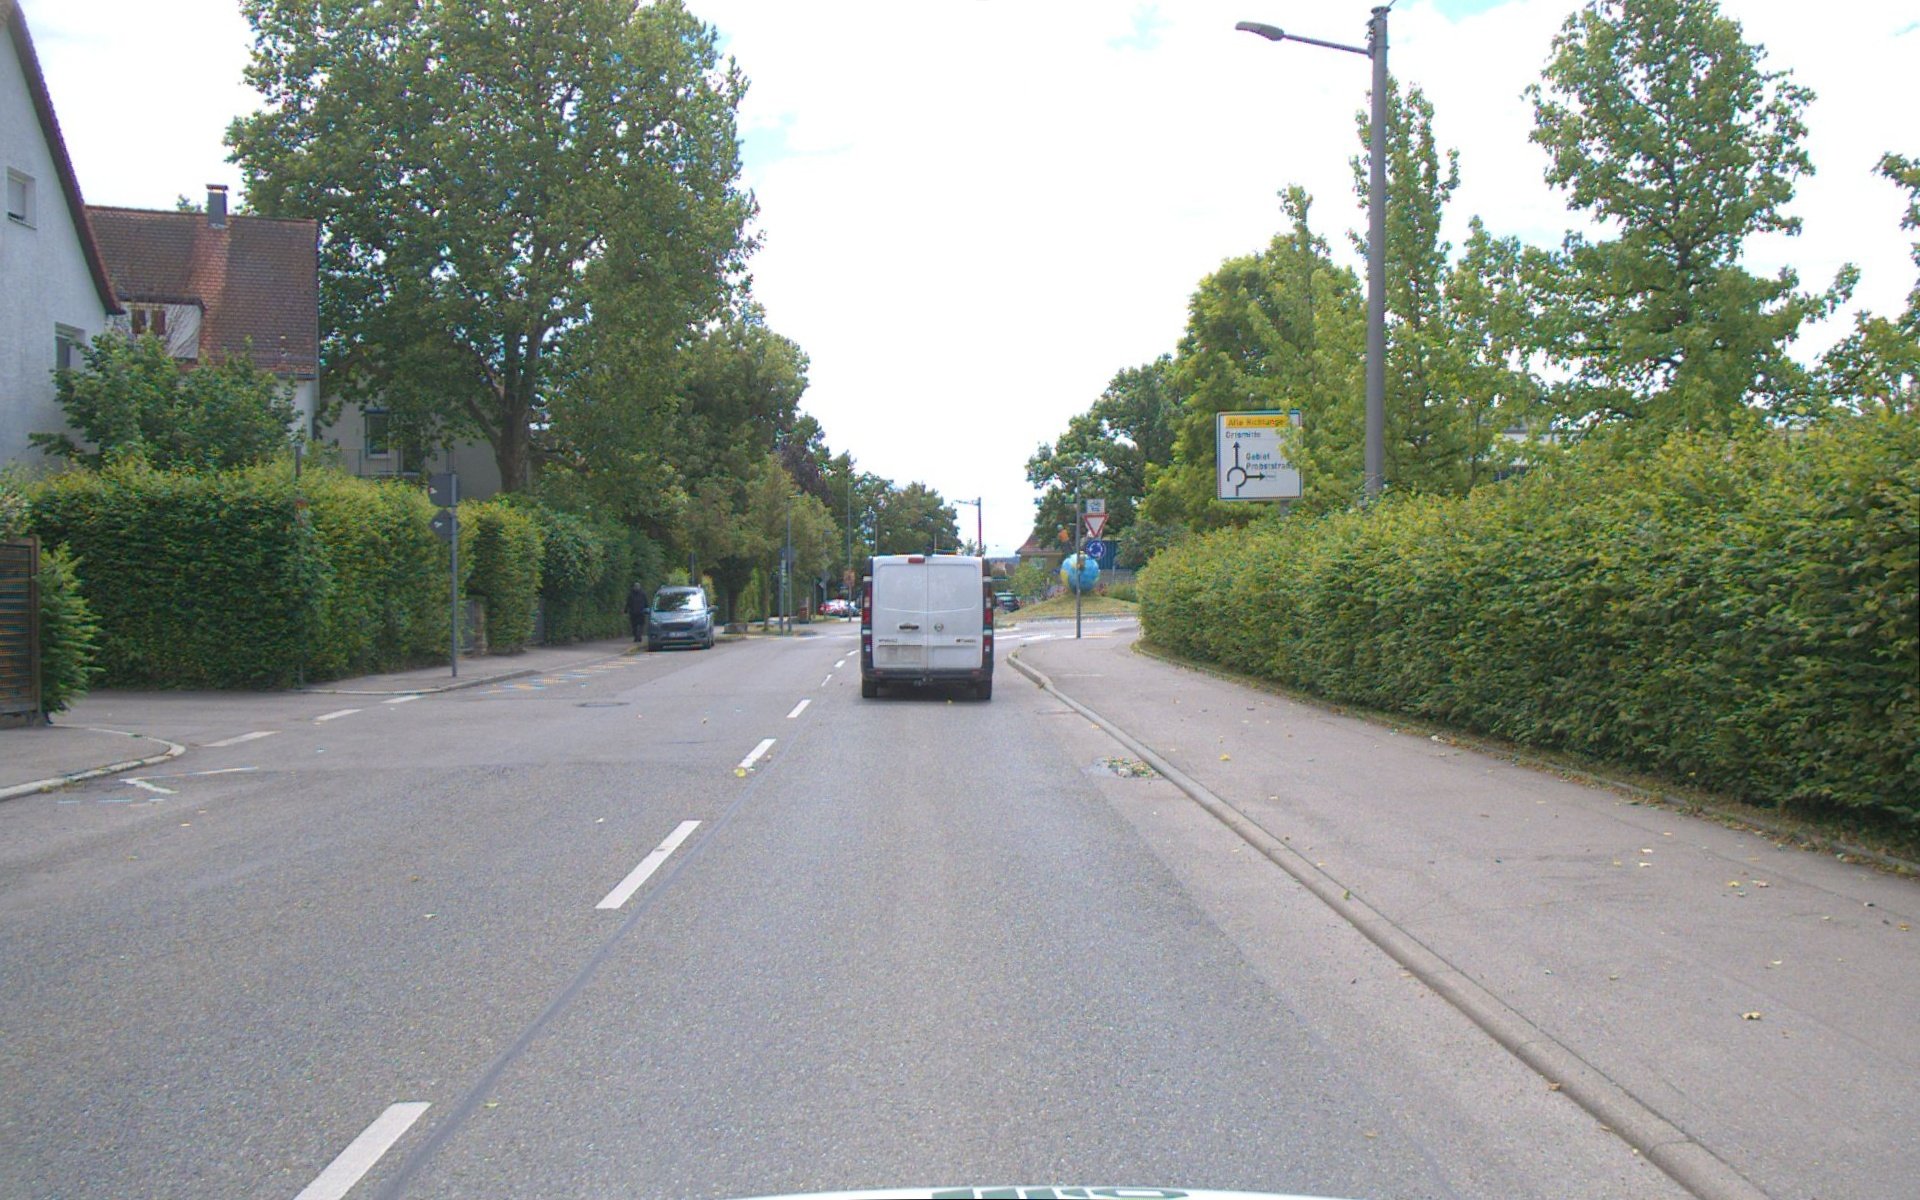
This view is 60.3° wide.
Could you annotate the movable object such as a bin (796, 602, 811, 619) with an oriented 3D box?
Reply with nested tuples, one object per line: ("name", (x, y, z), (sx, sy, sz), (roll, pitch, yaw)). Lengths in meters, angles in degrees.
("movable object such as a bin", (-8.330, 0.566, 88.178), (0.616, 0.878, 0.641), (-2, 0, 9))

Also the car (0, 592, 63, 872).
("car", (-6.225, 0.761, 7.208), (1.952, 1.505, 4.648), (-2, 1, 2))

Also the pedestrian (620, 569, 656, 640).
("pedestrian", (-9.505, 0.114, 48.854), (0.855, 2.049, 1.040), (-2, 0, -5))

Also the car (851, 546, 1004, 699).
("car", (-0.458, 0.265, 24.437), (1.993, 1.979, 4.993), (1, 1, -1))

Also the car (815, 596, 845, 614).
("car", (-10.657, 0.401, 135.509), (2.025, 1.410, 4.038), (0, 1, -10))

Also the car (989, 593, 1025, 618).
("car", (3.125, 0.331, 109.690), (1.895, 1.564, 3.920), (0, 1, -6))

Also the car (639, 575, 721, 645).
("car", (-7.725, 0.241, 46.007), (2.092, 1.803, 4.456), (1, 1, -8))
